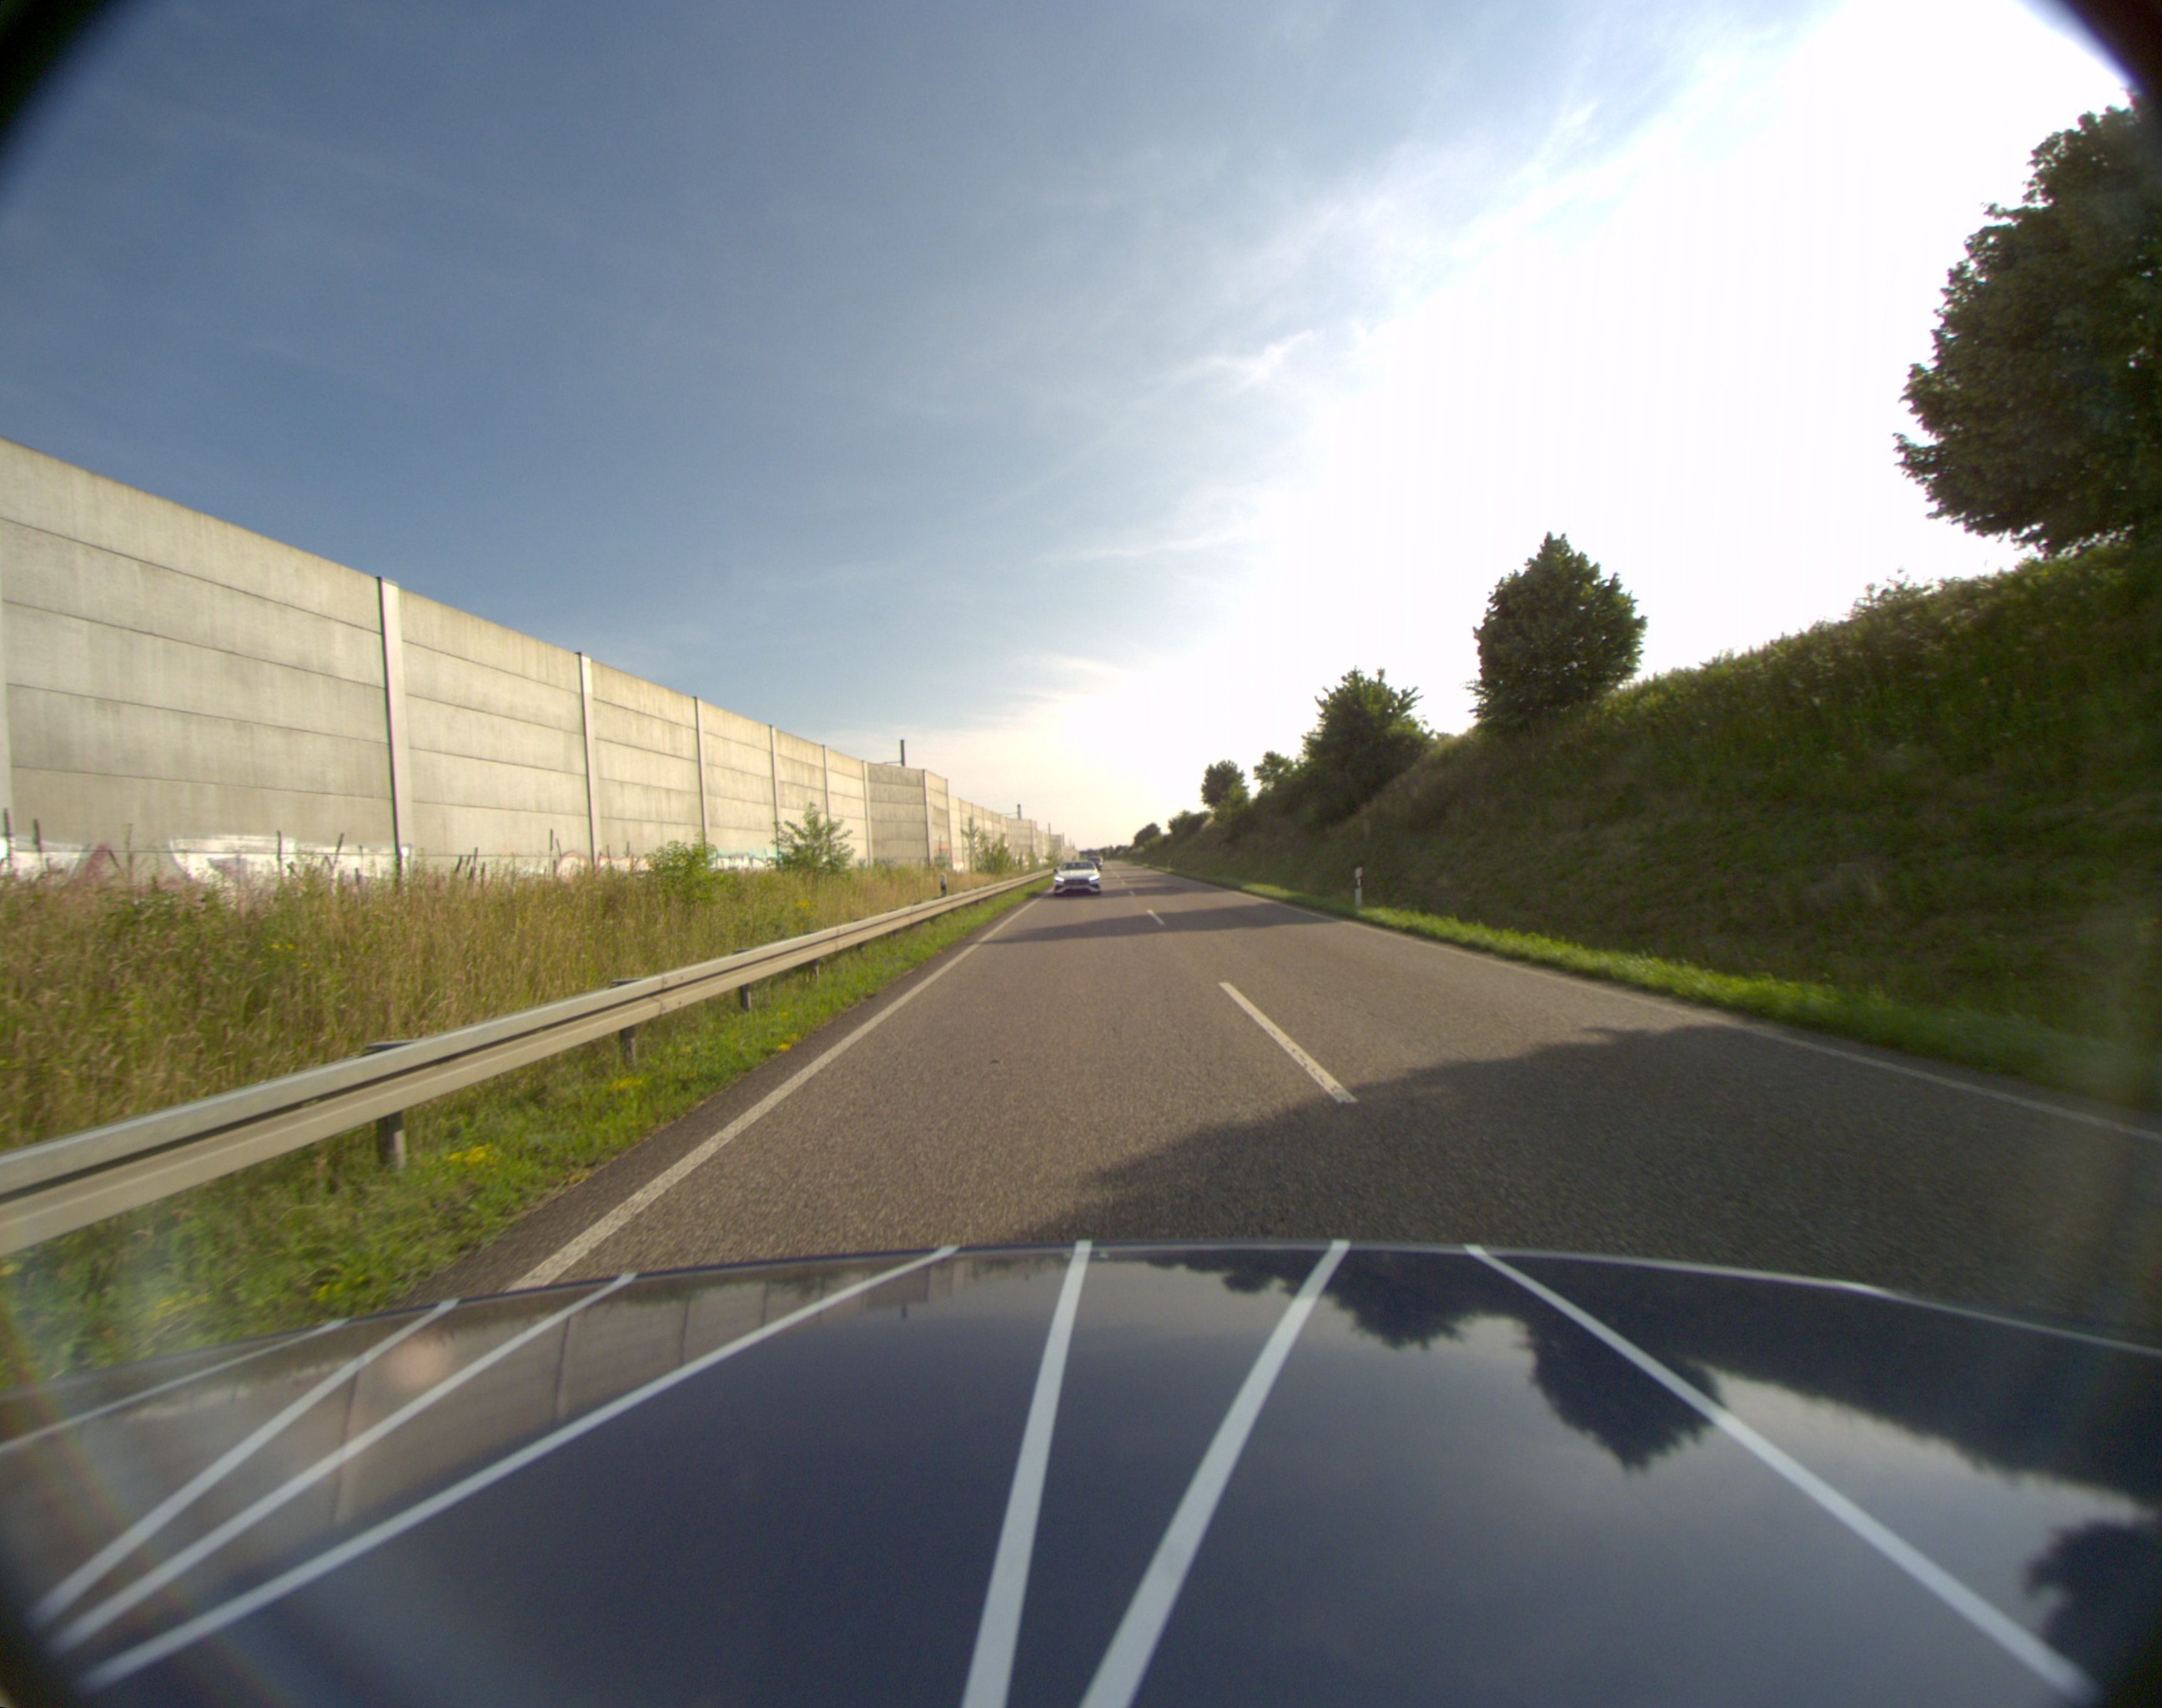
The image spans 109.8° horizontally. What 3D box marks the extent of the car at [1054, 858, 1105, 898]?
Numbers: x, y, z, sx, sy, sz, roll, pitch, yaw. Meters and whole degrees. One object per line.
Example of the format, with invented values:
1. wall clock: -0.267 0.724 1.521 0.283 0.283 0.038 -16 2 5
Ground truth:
1. car: 0.011 0.929 32.027 1.930 1.399 4.974 -2 1 1

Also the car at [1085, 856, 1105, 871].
1. car: 1.536 0.955 79.424 1.929 1.399 4.975 -1 0 3
